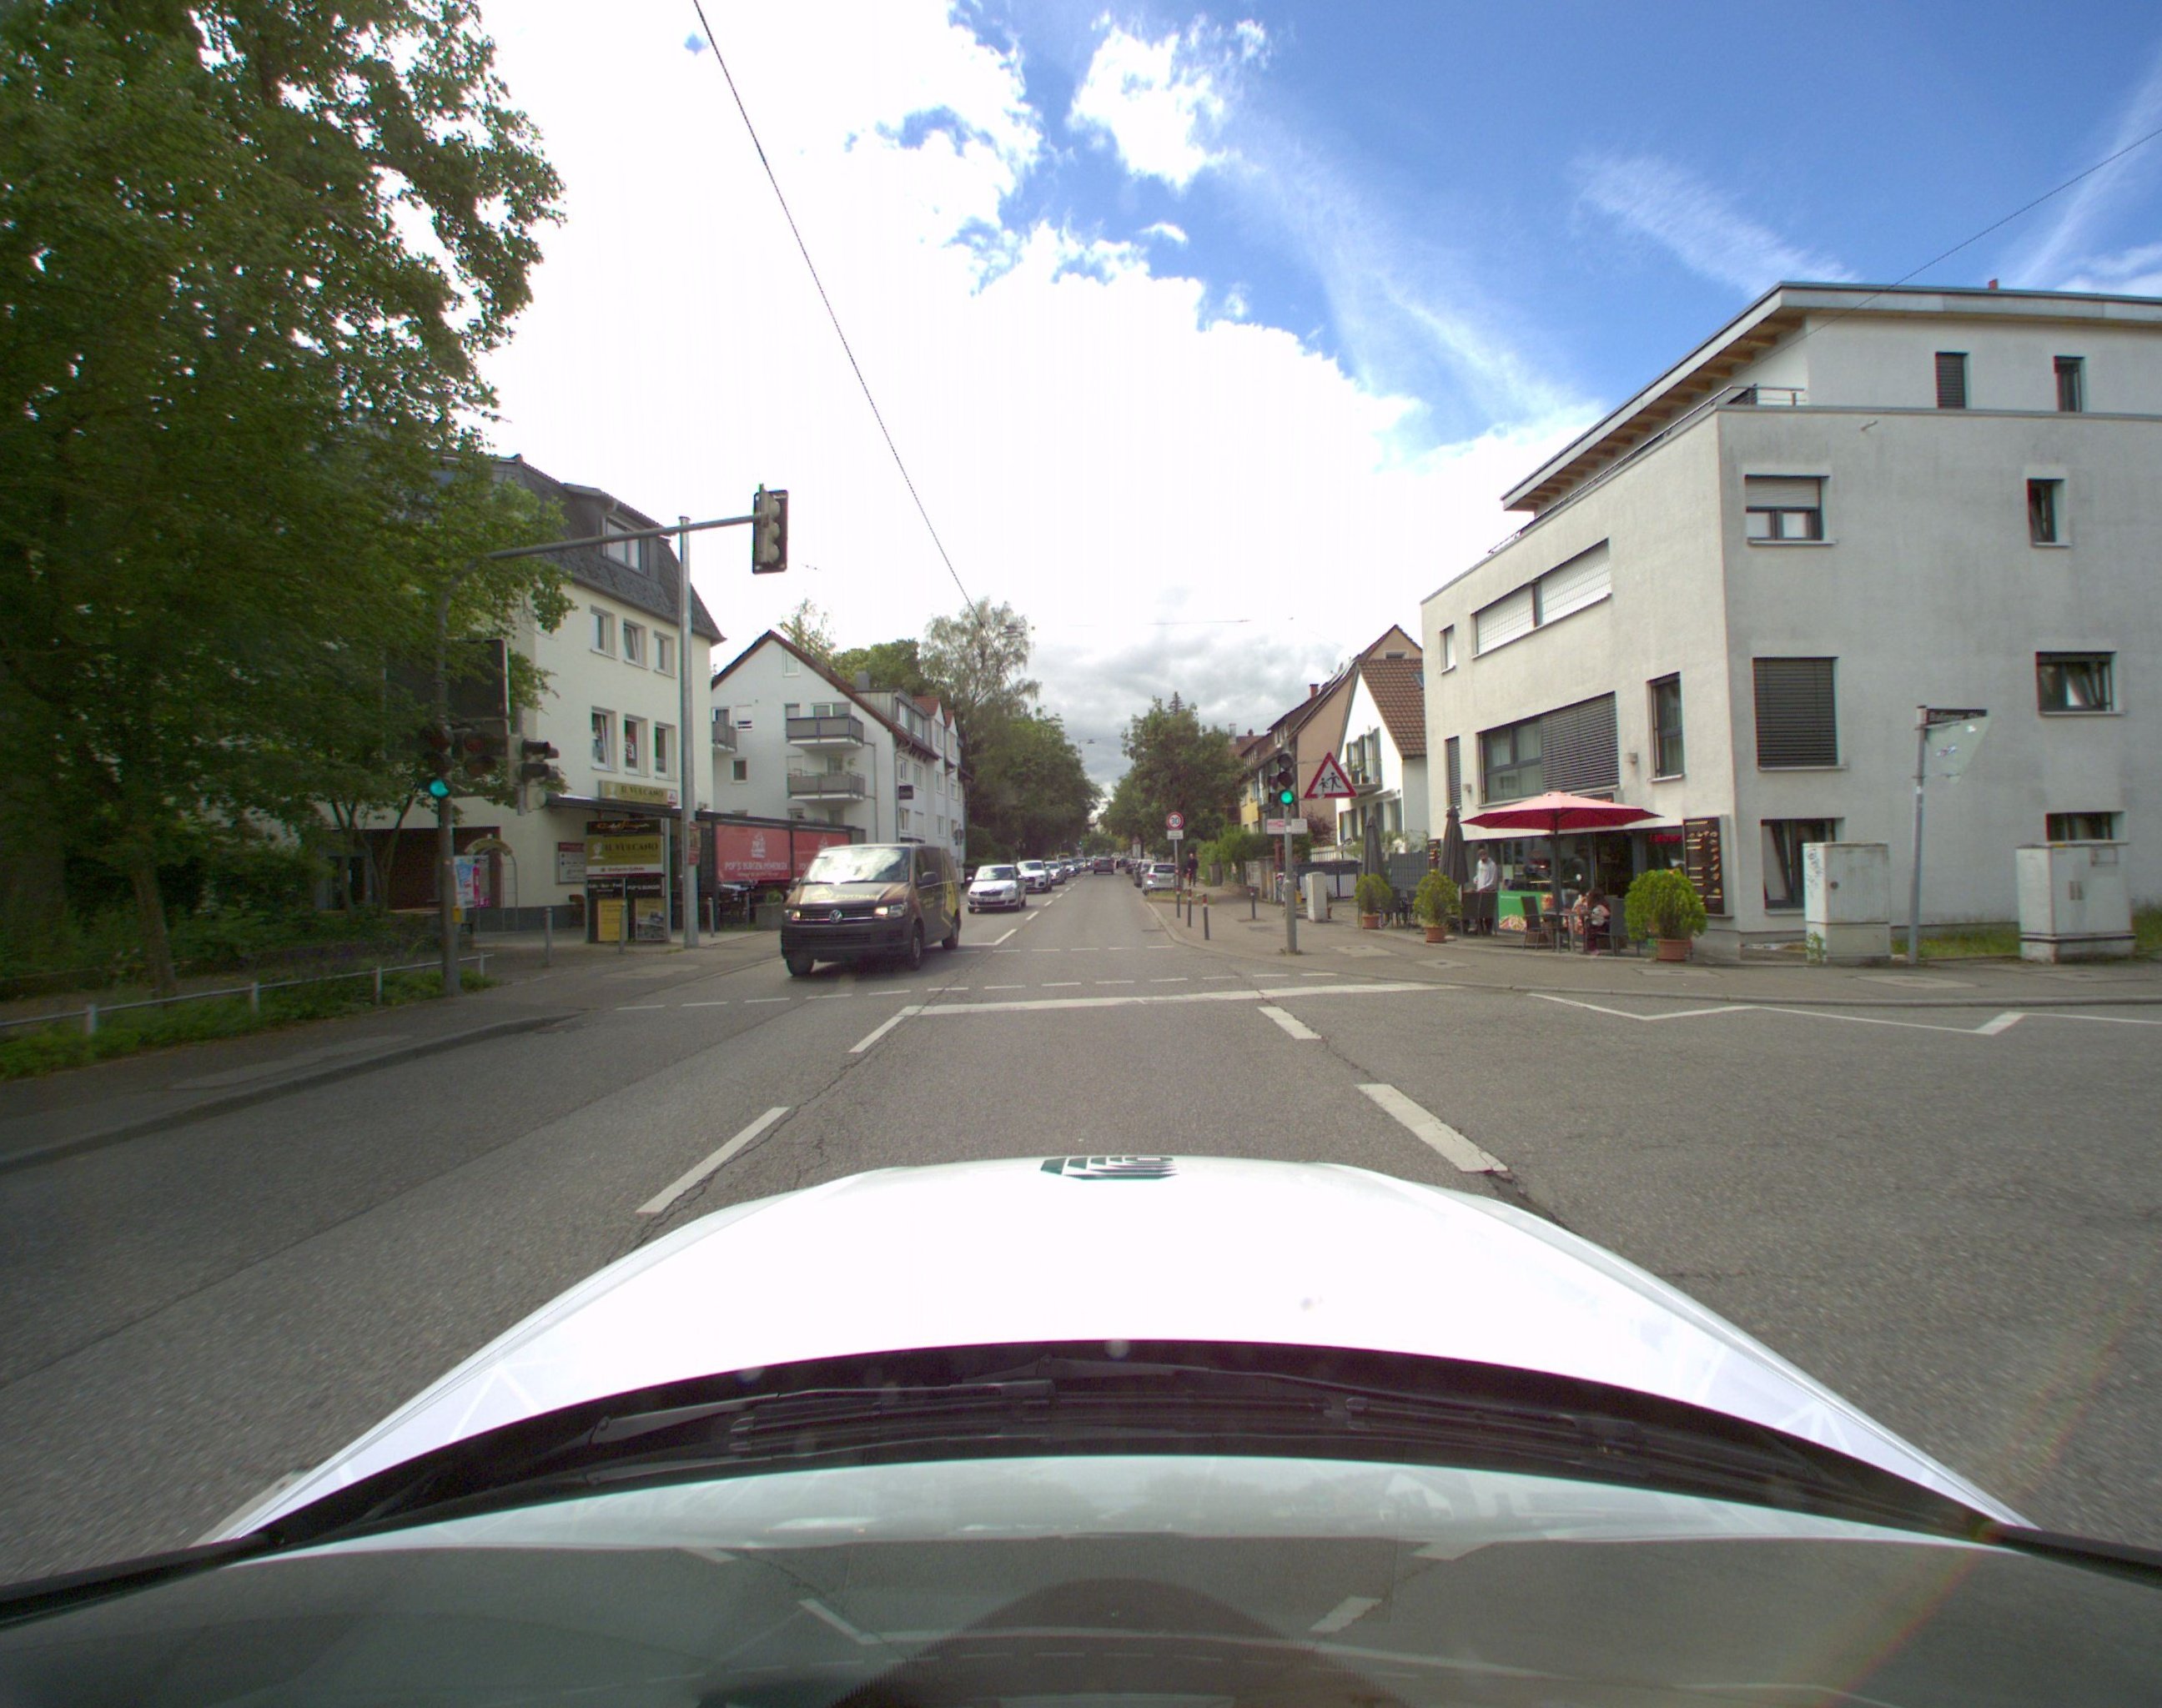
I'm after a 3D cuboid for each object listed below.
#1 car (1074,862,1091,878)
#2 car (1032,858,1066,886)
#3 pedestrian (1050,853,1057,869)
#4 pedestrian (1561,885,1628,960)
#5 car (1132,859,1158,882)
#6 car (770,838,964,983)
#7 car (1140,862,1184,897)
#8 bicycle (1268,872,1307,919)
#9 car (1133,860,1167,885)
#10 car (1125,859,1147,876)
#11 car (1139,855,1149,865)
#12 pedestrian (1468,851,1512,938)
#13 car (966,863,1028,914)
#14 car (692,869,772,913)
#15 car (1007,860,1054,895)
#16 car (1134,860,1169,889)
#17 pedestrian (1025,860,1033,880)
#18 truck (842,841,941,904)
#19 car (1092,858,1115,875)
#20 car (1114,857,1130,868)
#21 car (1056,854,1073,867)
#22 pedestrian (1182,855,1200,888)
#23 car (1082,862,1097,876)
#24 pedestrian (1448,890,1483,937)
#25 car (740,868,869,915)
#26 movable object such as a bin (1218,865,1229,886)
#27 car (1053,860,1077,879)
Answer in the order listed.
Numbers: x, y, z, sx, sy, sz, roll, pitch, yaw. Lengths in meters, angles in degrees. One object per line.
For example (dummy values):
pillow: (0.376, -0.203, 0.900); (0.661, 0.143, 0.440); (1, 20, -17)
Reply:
car: (0.207, 1.866, 95.704); (1.779, 1.648, 4.493); (-3, 0, 2)
car: (-1.938, 1.074, 50.114); (1.722, 1.502, 4.377); (-4, 0, 1)
pedestrian: (-3.152, 0.776, 92.141); (0.712, 1.762, 1.120); (-1, -1, -3)
pedestrian: (7.854, 1.029, 12.466); (0.568, 1.089, 0.629); (0, -1, -23)
car: (4.468, 1.138, 56.986); (1.615, 1.507, 3.781); (-2, 0, 2)
car: (-3.220, 0.774, 13.316); (1.871, 1.913, 4.751); (-1, 0, 0)
car: (3.641, 1.108, 37.164); (1.694, 1.481, 4.875); (0, 0, 2)
bicycle: (5.494, 1.085, 21.780); (0.717, 1.150, 2.217); (-1, -1, 7)
car: (4.318, 1.145, 51.586); (1.985, 1.423, 4.592); (-2, 0, 3)
car: (5.073, 1.224, 75.822); (1.795, 1.445, 4.888); (1, 0, 1)
car: (13.547, 1.327, 175.604); (1.985, 2.014, 4.004); (-1, -1, 4)
pedestrian: (8.538, 0.828, 17.011); (0.429, 1.762, 0.671); (-1, -1, -19)
car: (-2.690, 1.071, 26.669); (1.612, 1.486, 3.812); (-1, 0, 0)
car: (-12.620, 1.338, 29.418); (2.811, 1.470, 1.576); (-3, -2, 40)
car: (-2.414, 1.111, 39.954); (1.799, 1.571, 4.161); (-3, -1, 2)
car: (3.890, 1.111, 45.685); (1.727, 1.429, 4.885); (1, 0, 2)
pedestrian: (-4.278, 1.335, 67.413); (0.651, 1.667, 0.931); (-1, -1, -3)
truck: (-7.837, 0.766, 34.523); (2.214, 2.380, 6.333); (-1, -1, 5)
car: (2.130, 1.124, 75.467); (1.968, 1.513, 4.270); (2, 0, 3)
car: (5.616, 1.179, 111.227); (1.806, 1.501, 4.276); (0, 0, 8)
car: (-2.679, 1.033, 130.878); (2.136, 1.981, 4.937); (-1, -1, 5)
pedestrian: (5.822, 0.905, 43.166); (0.877, 1.712, 0.843); (-1, -1, 3)
car: (1.149, 1.952, 107.698); (1.778, 1.592, 4.156); (-3, 0, 2)
pedestrian: (8.028, 1.234, 17.024); (0.420, 0.938, 0.494); (-1, -1, -19)
car: (-9.136, 1.222, 27.151); (3.683, 1.425, 1.804); (-1, -1, -2)
movable object such as a bin: (7.430, 1.116, 42.386); (0.520, 1.080, 0.605); (-1, -1, 7)
car: (-1.310, 1.252, 68.613); (1.753, 1.439, 3.972); (-3, 0, 2)
